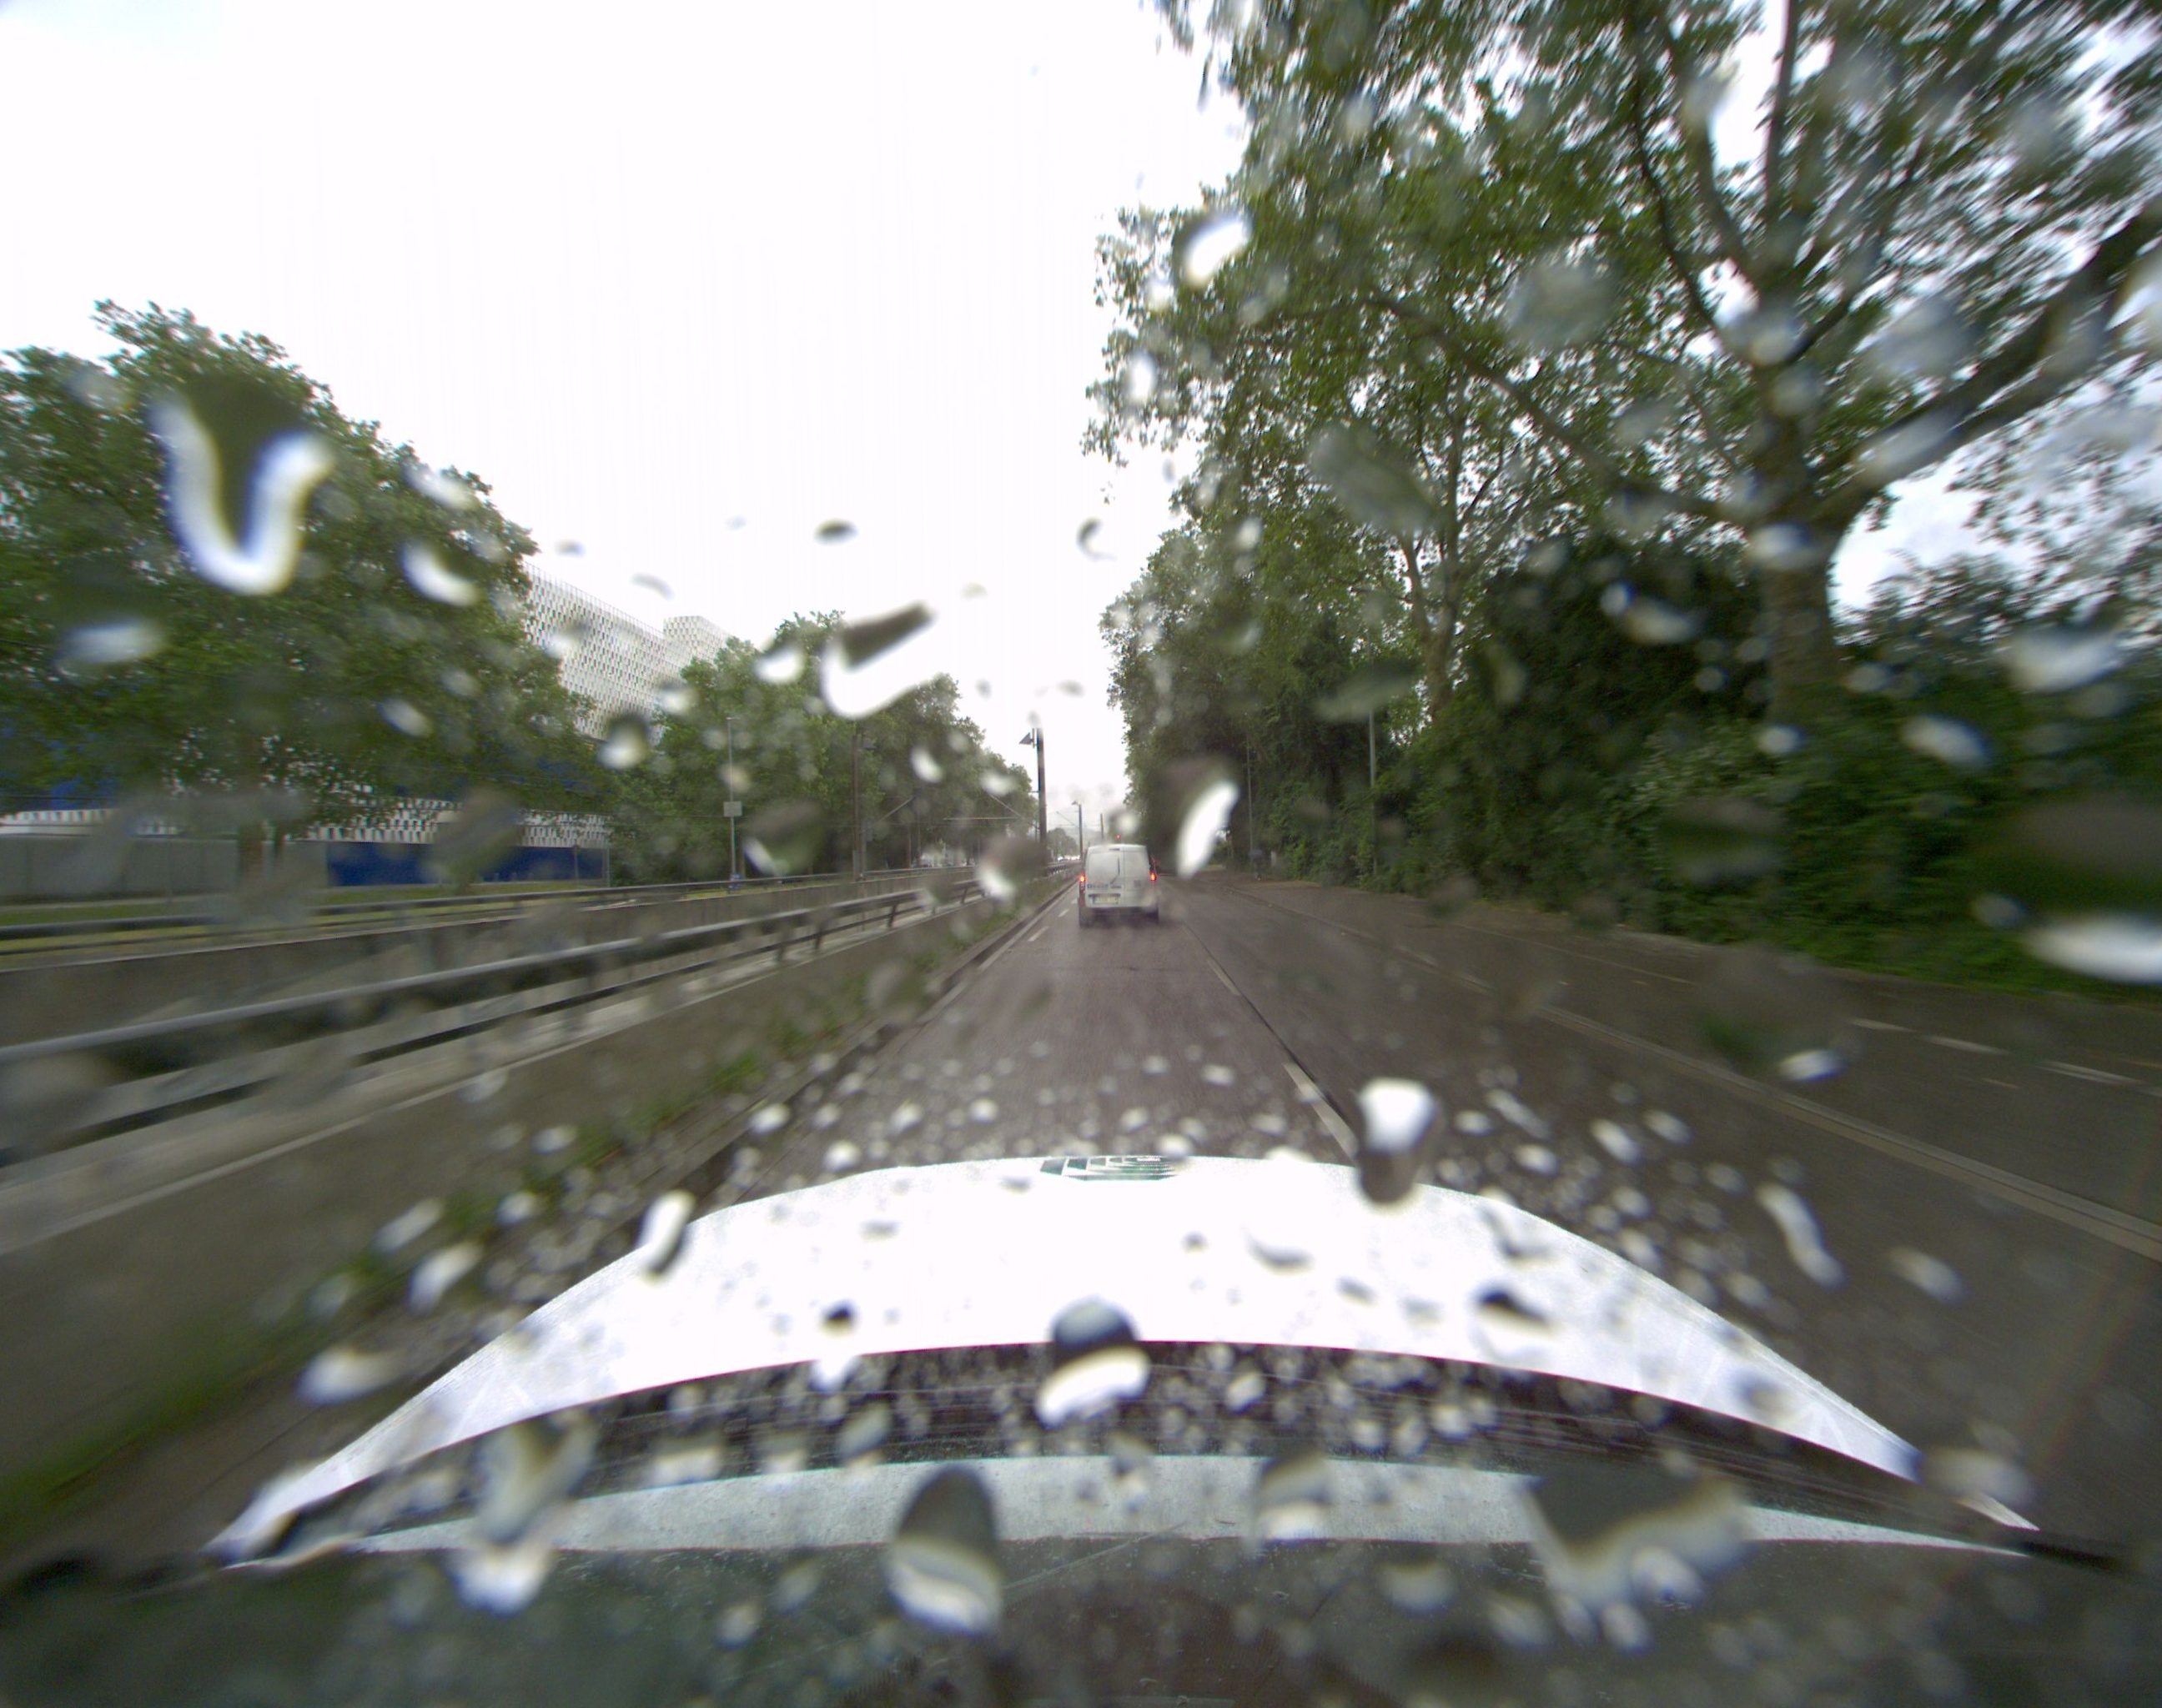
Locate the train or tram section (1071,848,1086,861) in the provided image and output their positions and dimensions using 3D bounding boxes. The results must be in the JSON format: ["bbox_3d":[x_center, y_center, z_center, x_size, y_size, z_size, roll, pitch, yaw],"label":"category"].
[{"bbox_3d":[-0.603,0.215,258.549,3.755,4.036,27.106,0,0,2],"label":"train or tram section"}]

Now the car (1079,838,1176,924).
[{"bbox_3d":[1.025,0.571,19.031,2.017,1.775,4.275,0,0,2],"label":"car"}]

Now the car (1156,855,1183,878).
[{"bbox_3d":[6.884,0.947,63.438,1.983,1.750,4.007,0,0,6],"label":"car"}]

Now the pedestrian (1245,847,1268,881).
[{"bbox_3d":[9.093,0.516,42.285,0.963,1.702,1.141,-1,-1,3],"label":"pedestrian"}]

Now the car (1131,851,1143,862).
[{"bbox_3d":[9.372,0.419,137.089,1.985,1.750,4.004,0,0,4],"label":"car"}]

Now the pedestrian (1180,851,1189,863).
[{"bbox_3d":[12.099,0.375,95.481,0.888,1.390,1.018,-3,-1,4],"label":"pedestrian"}]
